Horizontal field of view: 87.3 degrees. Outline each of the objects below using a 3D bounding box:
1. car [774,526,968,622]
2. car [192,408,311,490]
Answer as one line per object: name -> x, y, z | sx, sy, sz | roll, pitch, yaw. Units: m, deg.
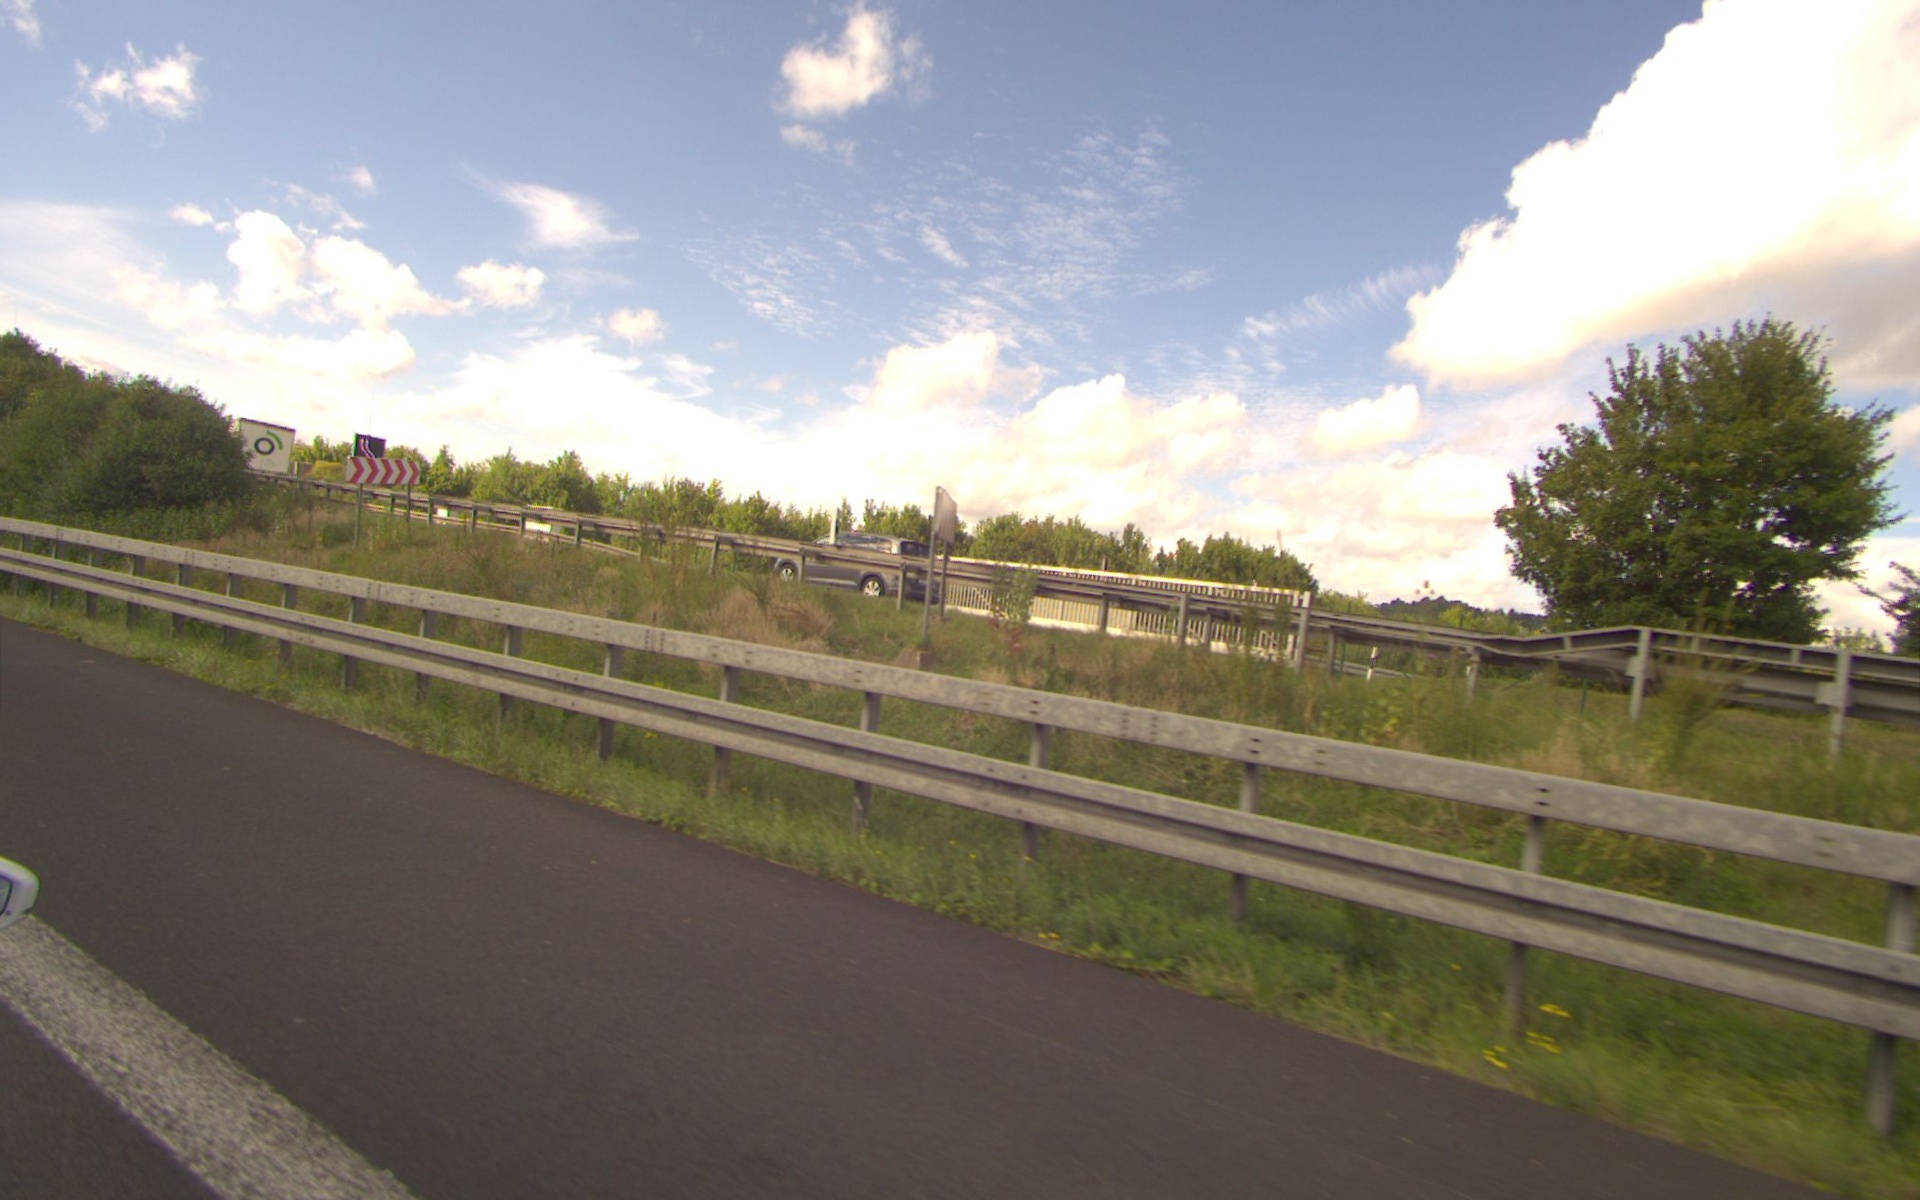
car -> -2.081, -0.618, 23.223 | 3.934, 1.739, 1.995 | 7, 1, 32
car -> -39.771, -8.356, 56.380 | 7.442, 3.723, 3.570 | 7, 1, 41
